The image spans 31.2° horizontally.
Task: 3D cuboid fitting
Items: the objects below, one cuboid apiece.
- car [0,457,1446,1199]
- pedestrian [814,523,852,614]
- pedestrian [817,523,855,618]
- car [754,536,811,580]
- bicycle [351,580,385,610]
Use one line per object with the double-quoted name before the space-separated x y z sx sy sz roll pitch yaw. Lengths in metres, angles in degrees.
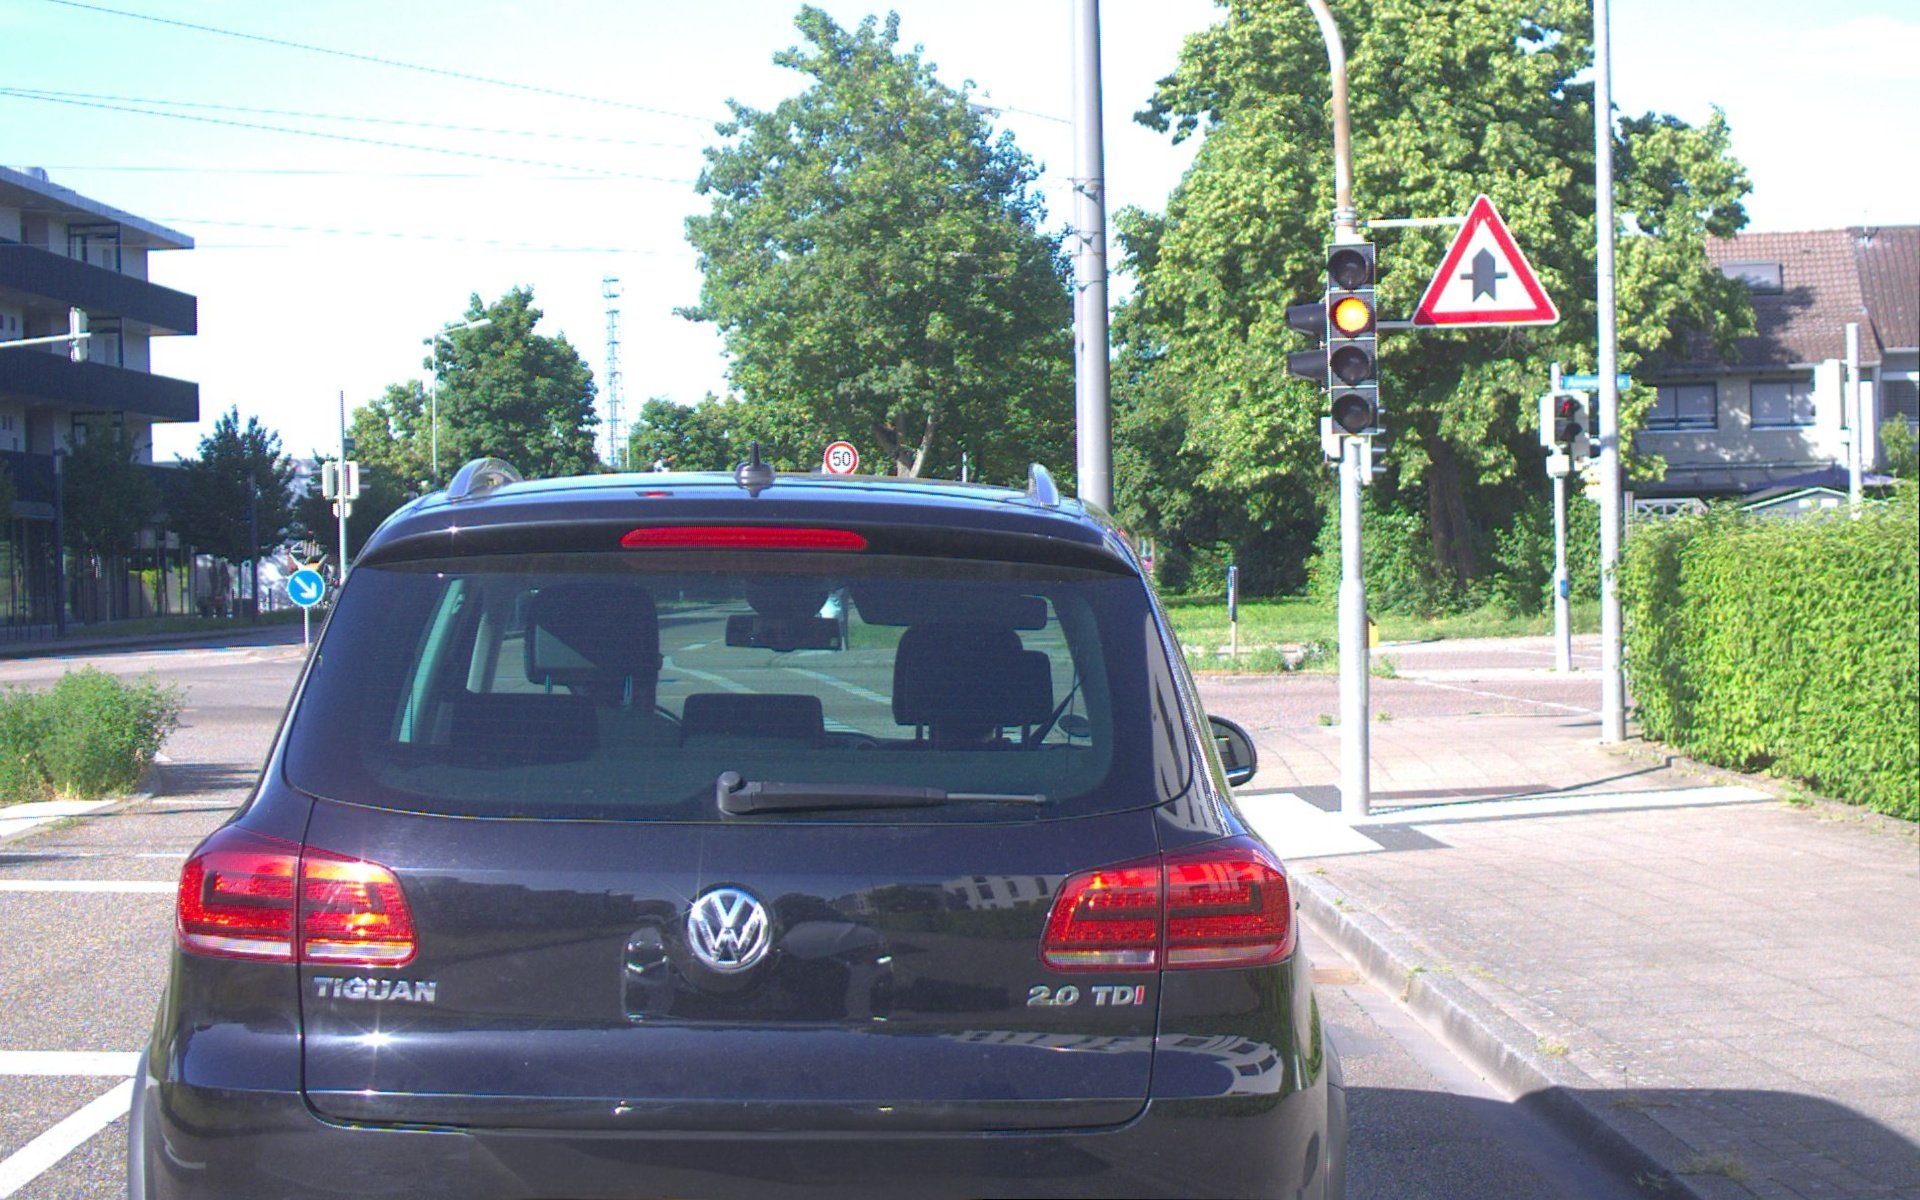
"car" -0.385 0.602 6.491 1.905 1.637 4.000 0 1 -2
"pedestrian" -2.181 -0.540 59.052 0.603 1.559 0.529 0 1 4
"pedestrian" -2.145 -0.510 59.632 0.603 1.634 0.529 0 1 4
"car" -5.738 -1.380 111.322 1.751 1.382 4.000 0 1 -2
"bicycle" -17.322 -0.148 100.605 0.496 0.845 2.078 0 1 3
